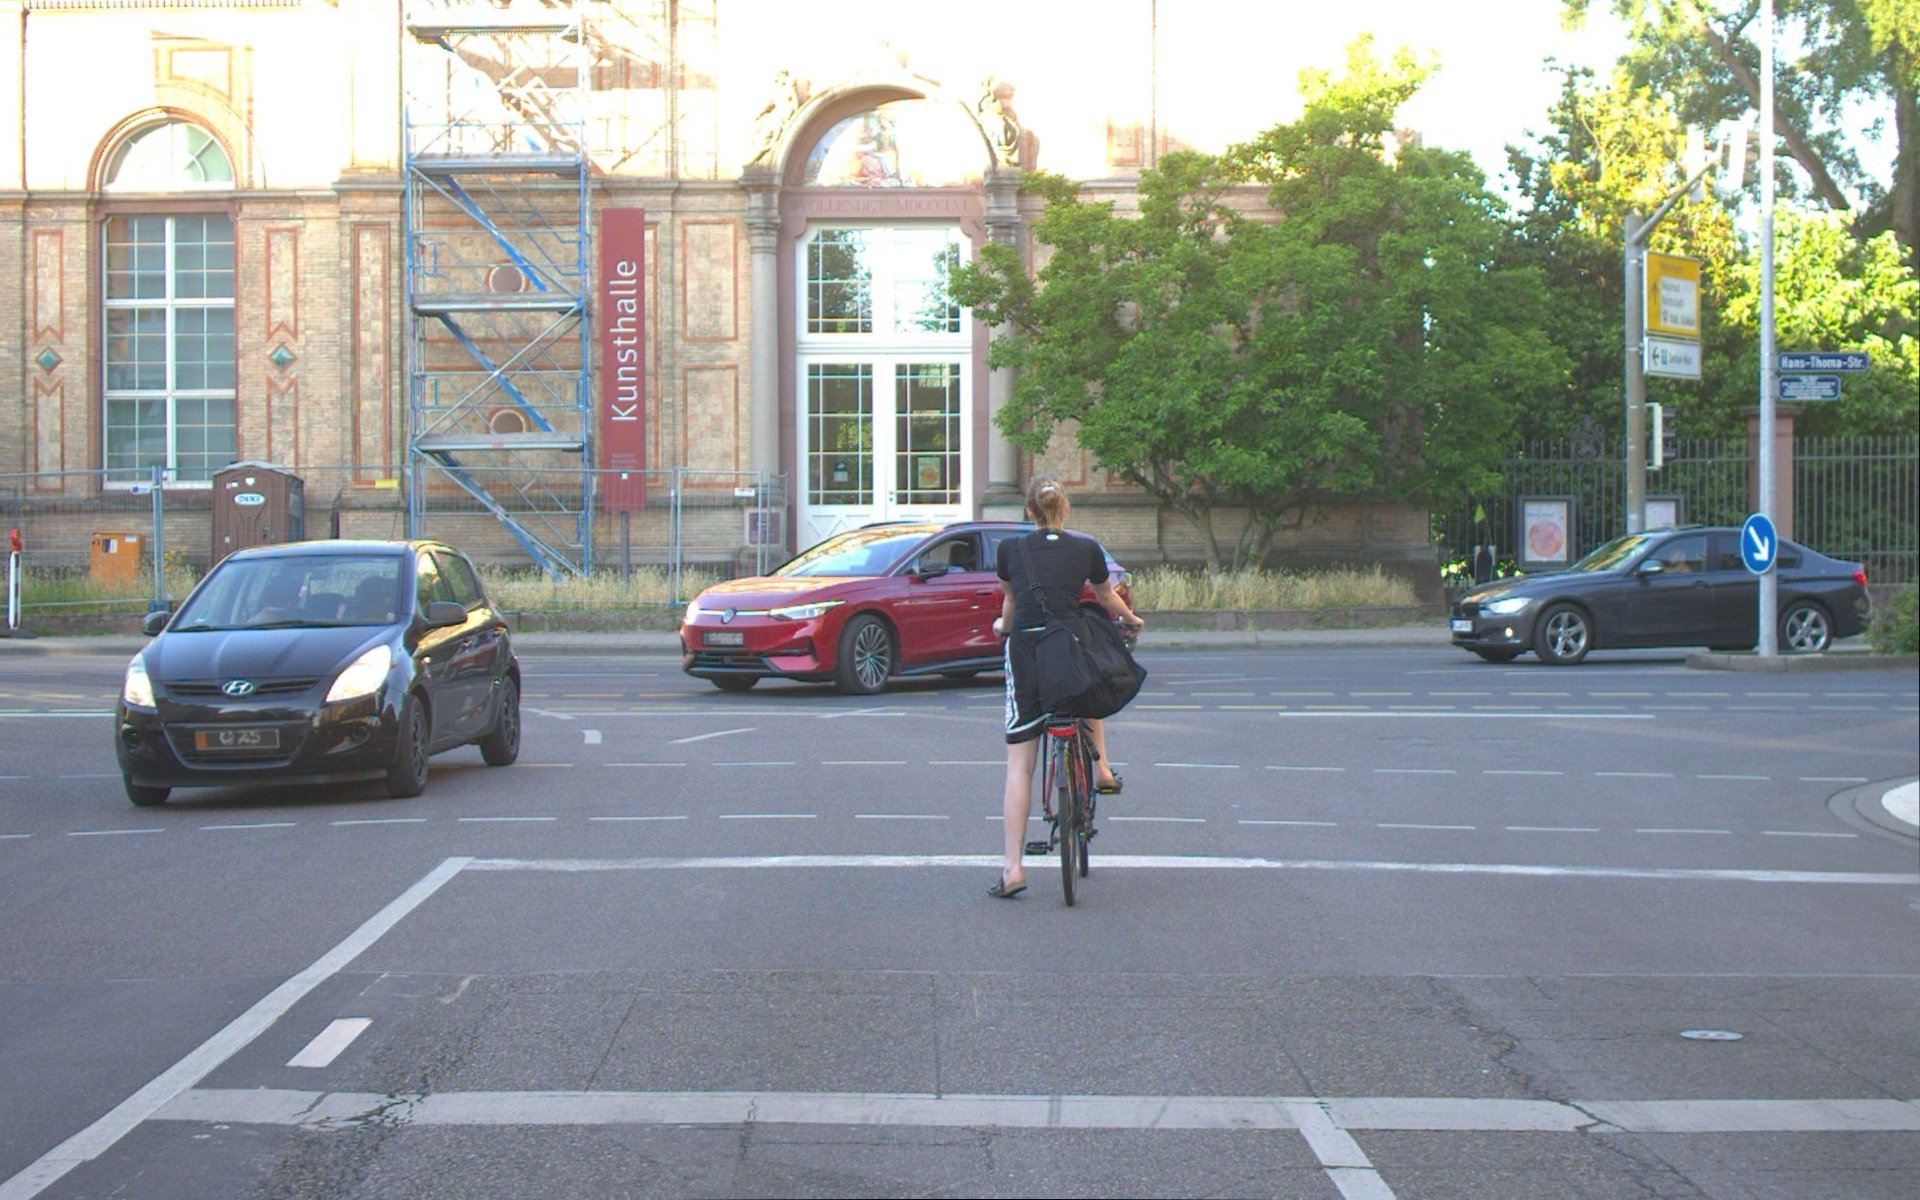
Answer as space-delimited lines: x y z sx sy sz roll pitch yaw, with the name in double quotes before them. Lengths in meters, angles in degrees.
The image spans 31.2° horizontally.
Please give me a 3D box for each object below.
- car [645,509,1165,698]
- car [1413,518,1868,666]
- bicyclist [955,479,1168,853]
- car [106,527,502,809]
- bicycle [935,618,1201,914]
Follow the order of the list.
"car" -0.432 -0.018 31.895 4.834 1.540 1.836 -3 2 -44
"car" 7.255 -0.109 36.747 4.407 1.454 1.788 -1 1 -15
"bicyclist" 0.429 0.267 14.236 0.716 1.497 0.850 0 0 14
"car" -3.867 0.336 20.859 1.658 1.466 3.854 -1 2 0
"bicycle" 0.490 0.654 14.474 0.712 1.152 2.067 0 0 14
